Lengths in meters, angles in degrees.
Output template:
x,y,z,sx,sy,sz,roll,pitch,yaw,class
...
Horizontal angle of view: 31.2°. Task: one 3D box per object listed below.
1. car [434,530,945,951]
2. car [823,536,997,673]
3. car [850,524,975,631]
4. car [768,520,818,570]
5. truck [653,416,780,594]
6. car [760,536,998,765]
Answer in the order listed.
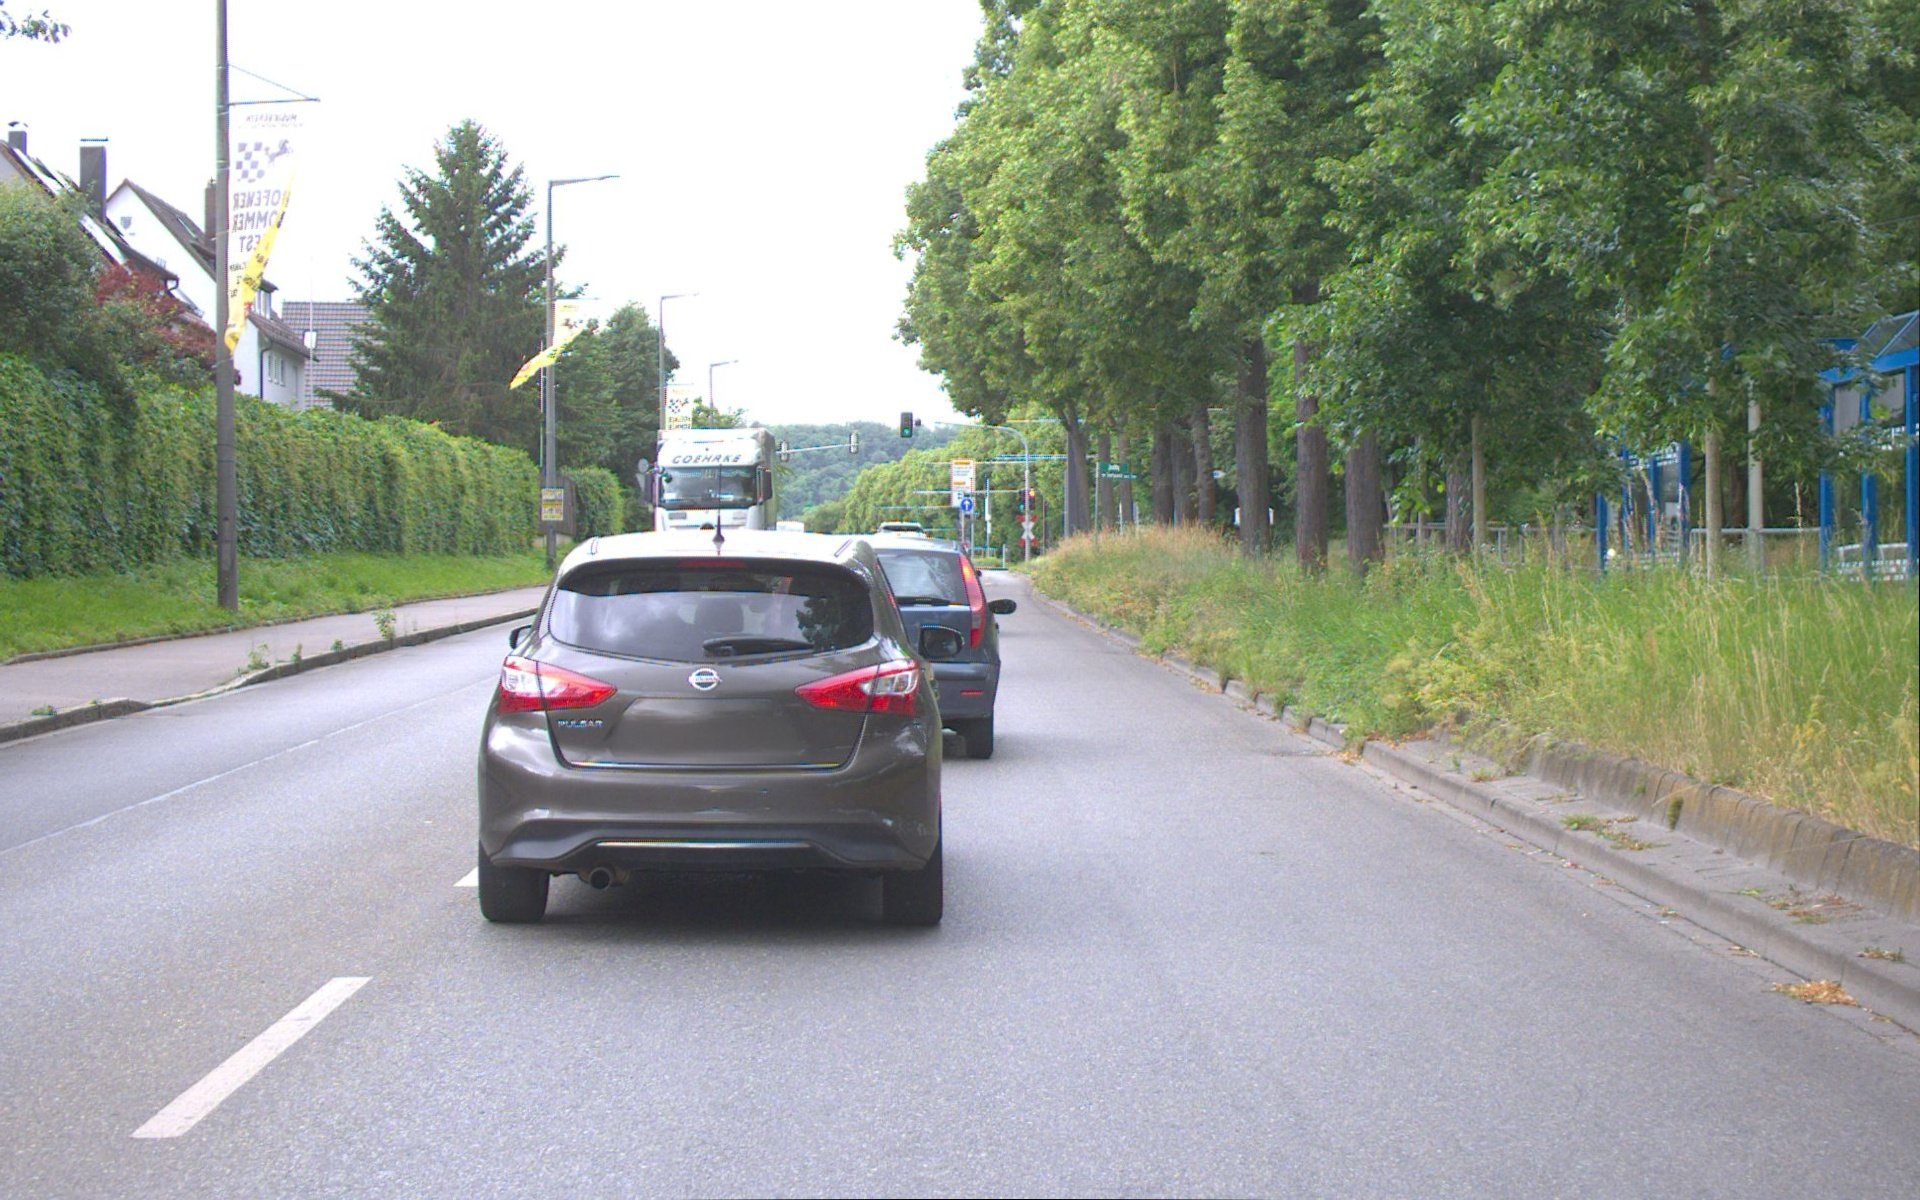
x,y,z,sx,sy,sz,roll,pitch,yaw,class
-1.000,0.461,14.613,1.835,1.514,4.483,0,1,-1,car
-0.536,0.010,37.435,1.792,1.392,4.000,0,1,-1,car
-0.704,-0.363,51.421,1.792,1.533,4.000,0,1,-1,car
-6.597,-2.195,135.922,1.906,1.925,4.912,-1,1,-3,car
-5.901,-2.247,84.762,2.549,4.030,10.621,-2,1,-2,truck
-0.549,0.291,24.151,1.538,1.473,3.764,0,1,-1,car
